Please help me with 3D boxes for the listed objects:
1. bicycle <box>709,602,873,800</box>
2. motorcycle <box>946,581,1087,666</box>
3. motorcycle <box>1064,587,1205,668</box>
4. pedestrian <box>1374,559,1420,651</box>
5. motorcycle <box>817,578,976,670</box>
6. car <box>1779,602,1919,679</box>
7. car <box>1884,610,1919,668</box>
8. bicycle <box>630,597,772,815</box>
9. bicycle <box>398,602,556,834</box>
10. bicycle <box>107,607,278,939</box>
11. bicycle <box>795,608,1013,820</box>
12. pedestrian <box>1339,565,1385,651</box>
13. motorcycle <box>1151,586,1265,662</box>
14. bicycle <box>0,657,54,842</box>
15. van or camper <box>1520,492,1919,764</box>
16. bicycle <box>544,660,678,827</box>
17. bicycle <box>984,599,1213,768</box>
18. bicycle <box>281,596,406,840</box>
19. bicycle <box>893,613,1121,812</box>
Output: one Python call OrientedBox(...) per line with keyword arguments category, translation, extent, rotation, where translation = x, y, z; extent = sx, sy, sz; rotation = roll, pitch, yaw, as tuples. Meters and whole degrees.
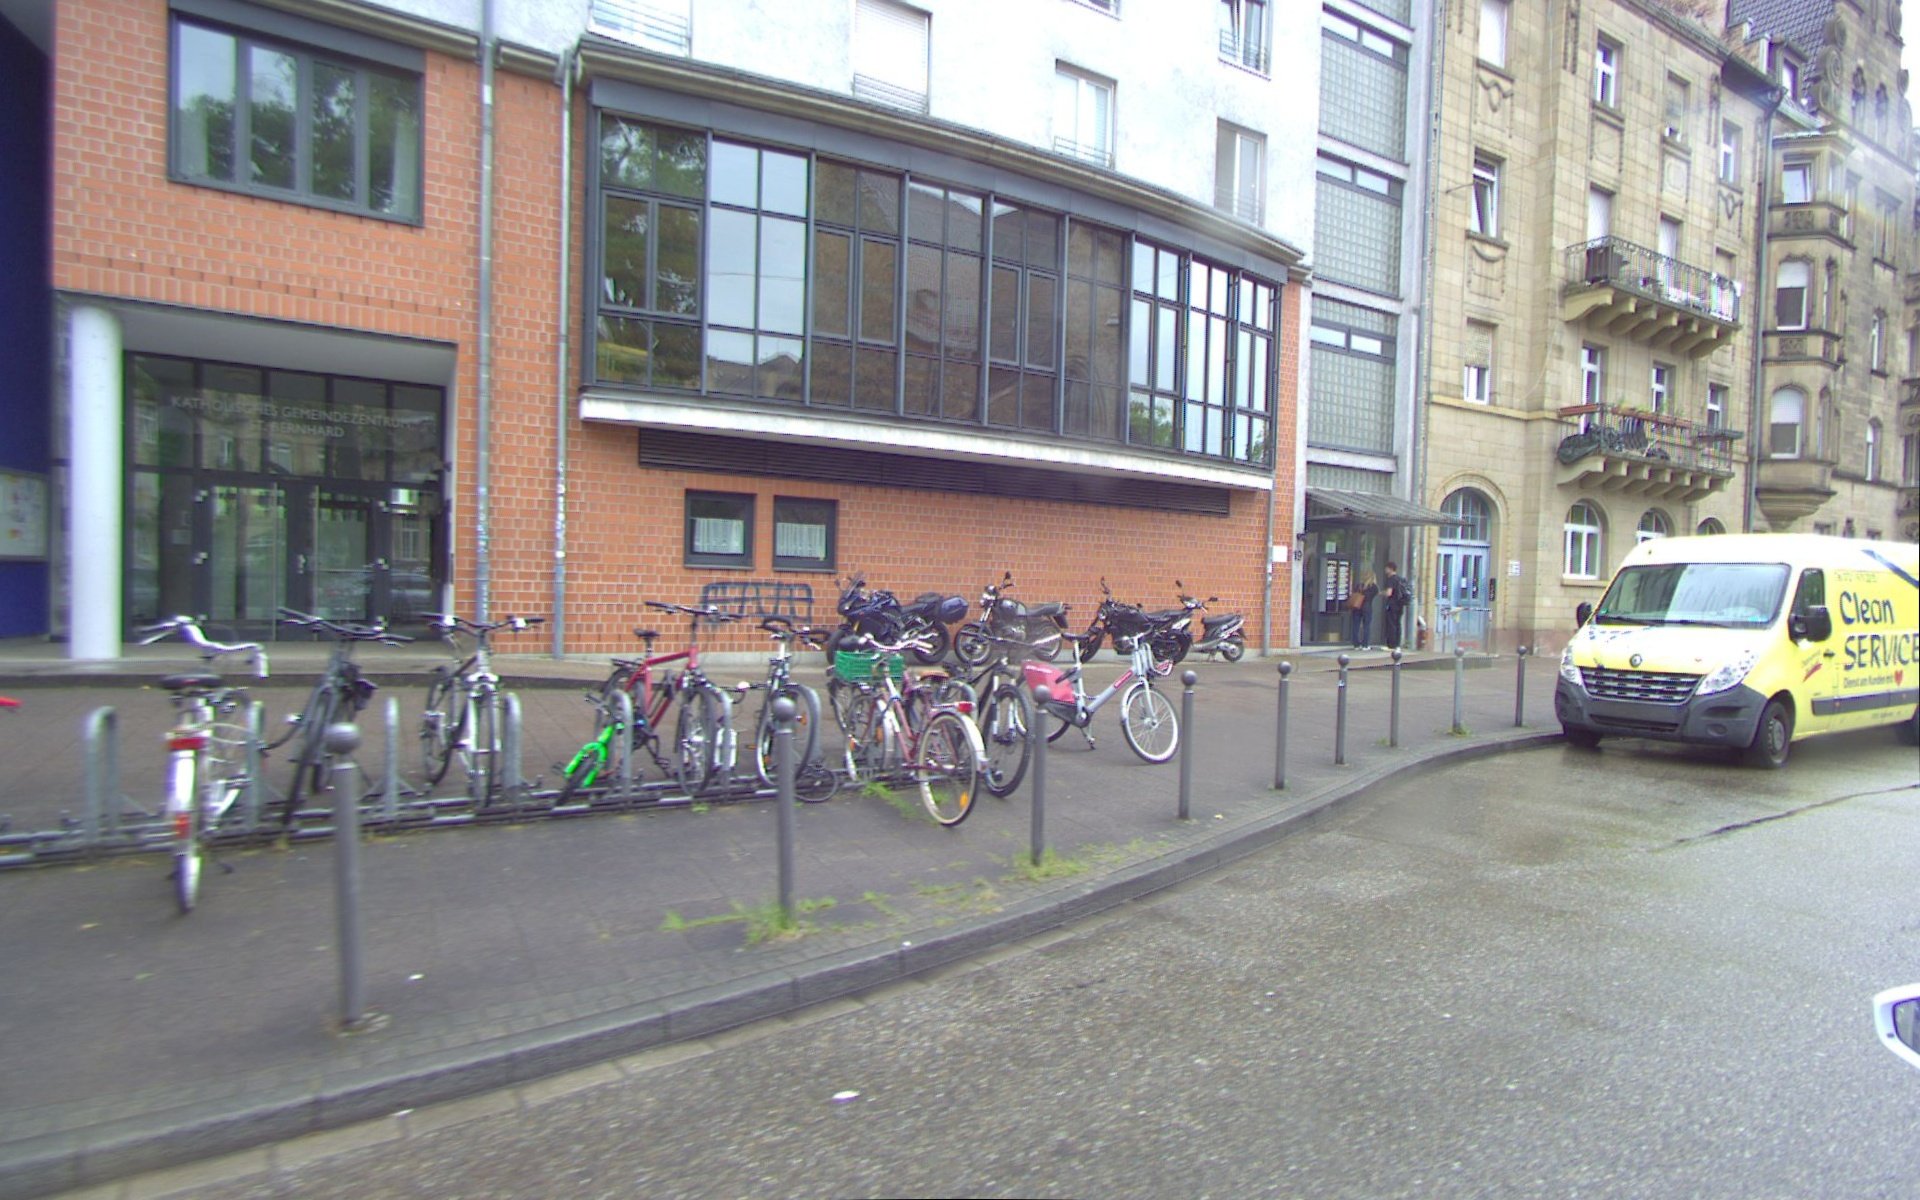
OrientedBox(category="bicycle", translation=(-1.241, 0.617, 7.019), extent=(0.500, 1.112, 1.905), rotation=(1, 2, -29))
OrientedBox(category="motorcycle", translation=(0.886, 0.353, 15.376), extent=(2.094, 1.190, 0.748), rotation=(1, 3, -34))
OrientedBox(category="motorcycle", translation=(2.818, 0.446, 16.221), extent=(2.083, 1.190, 0.752), rotation=(2, 3, -19))
OrientedBox(category="pedestrian", translation=(8.659, 0.104, 19.888), extent=(0.652, 1.780, 0.794), rotation=(1, 0, 36))
OrientedBox(category="motorcycle", translation=(-0.879, 0.336, 14.178), extent=(2.091, 1.190, 0.749), rotation=(1, 3, -30))
OrientedBox(category="car", translation=(21.437, 0.939, 23.089), extent=(3.595, 1.579, 1.798), rotation=(4, 2, 24))
OrientedBox(category="car", translation=(27.032, 1.129, 26.198), extent=(3.778, 1.499, 1.885), rotation=(3, 2, 19))
OrientedBox(category="bicycle", translation=(-1.782, 0.619, 6.728), extent=(0.560, 1.183, 1.796), rotation=(1, 2, -26))
OrientedBox(category="bicycle", translation=(-2.923, 0.612, 5.990), extent=(0.502, 1.112, 1.709), rotation=(1, 3, -37))
OrientedBox(category="bicycle", translation=(-3.354, 0.637, 4.471), extent=(0.501, 1.112, 1.711), rotation=(1, 2, -35))
OrientedBox(category="bicycle", translation=(-0.471, 0.673, 6.854), extent=(0.587, 1.112, 2.122), rotation=(1, 2, -29))
OrientedBox(category="pedestrian", translation=(8.122, 0.162, 20.291), extent=(0.652, 1.697, 0.794), rotation=(1, 0, 36))
OrientedBox(category="motorcycle", translation=(4.253, 0.405, 17.289), extent=(1.748, 1.190, 0.572), rotation=(3, 3, -7))
OrientedBox(category="bicycle", translation=(-4.614, 0.728, 4.452), extent=(0.500, 0.780, 1.714), rotation=(1, 2, -29))
OrientedBox(category="van or camper", translation=(9.745, 0.485, 12.156), extent=(6.797, 2.563, 2.111), rotation=(4, -4, -31))
OrientedBox(category="bicycle", translation=(-2.258, 0.841, 6.376), extent=(0.500, 0.741, 1.714), rotation=(1, 2, -29))
OrientedBox(category="bicycle", translation=(1.180, 0.666, 8.654), extent=(1.778, 1.229, 0.631), rotation=(4, 1, 24))
OrientedBox(category="bicycle", translation=(-3.536, 0.573, 5.703), extent=(0.501, 1.112, 1.711), rotation=(1, 2, -35))
OrientedBox(category="bicycle", translation=(0.247, 0.710, 7.241), extent=(0.587, 1.112, 2.106), rotation=(1, 2, -29))
